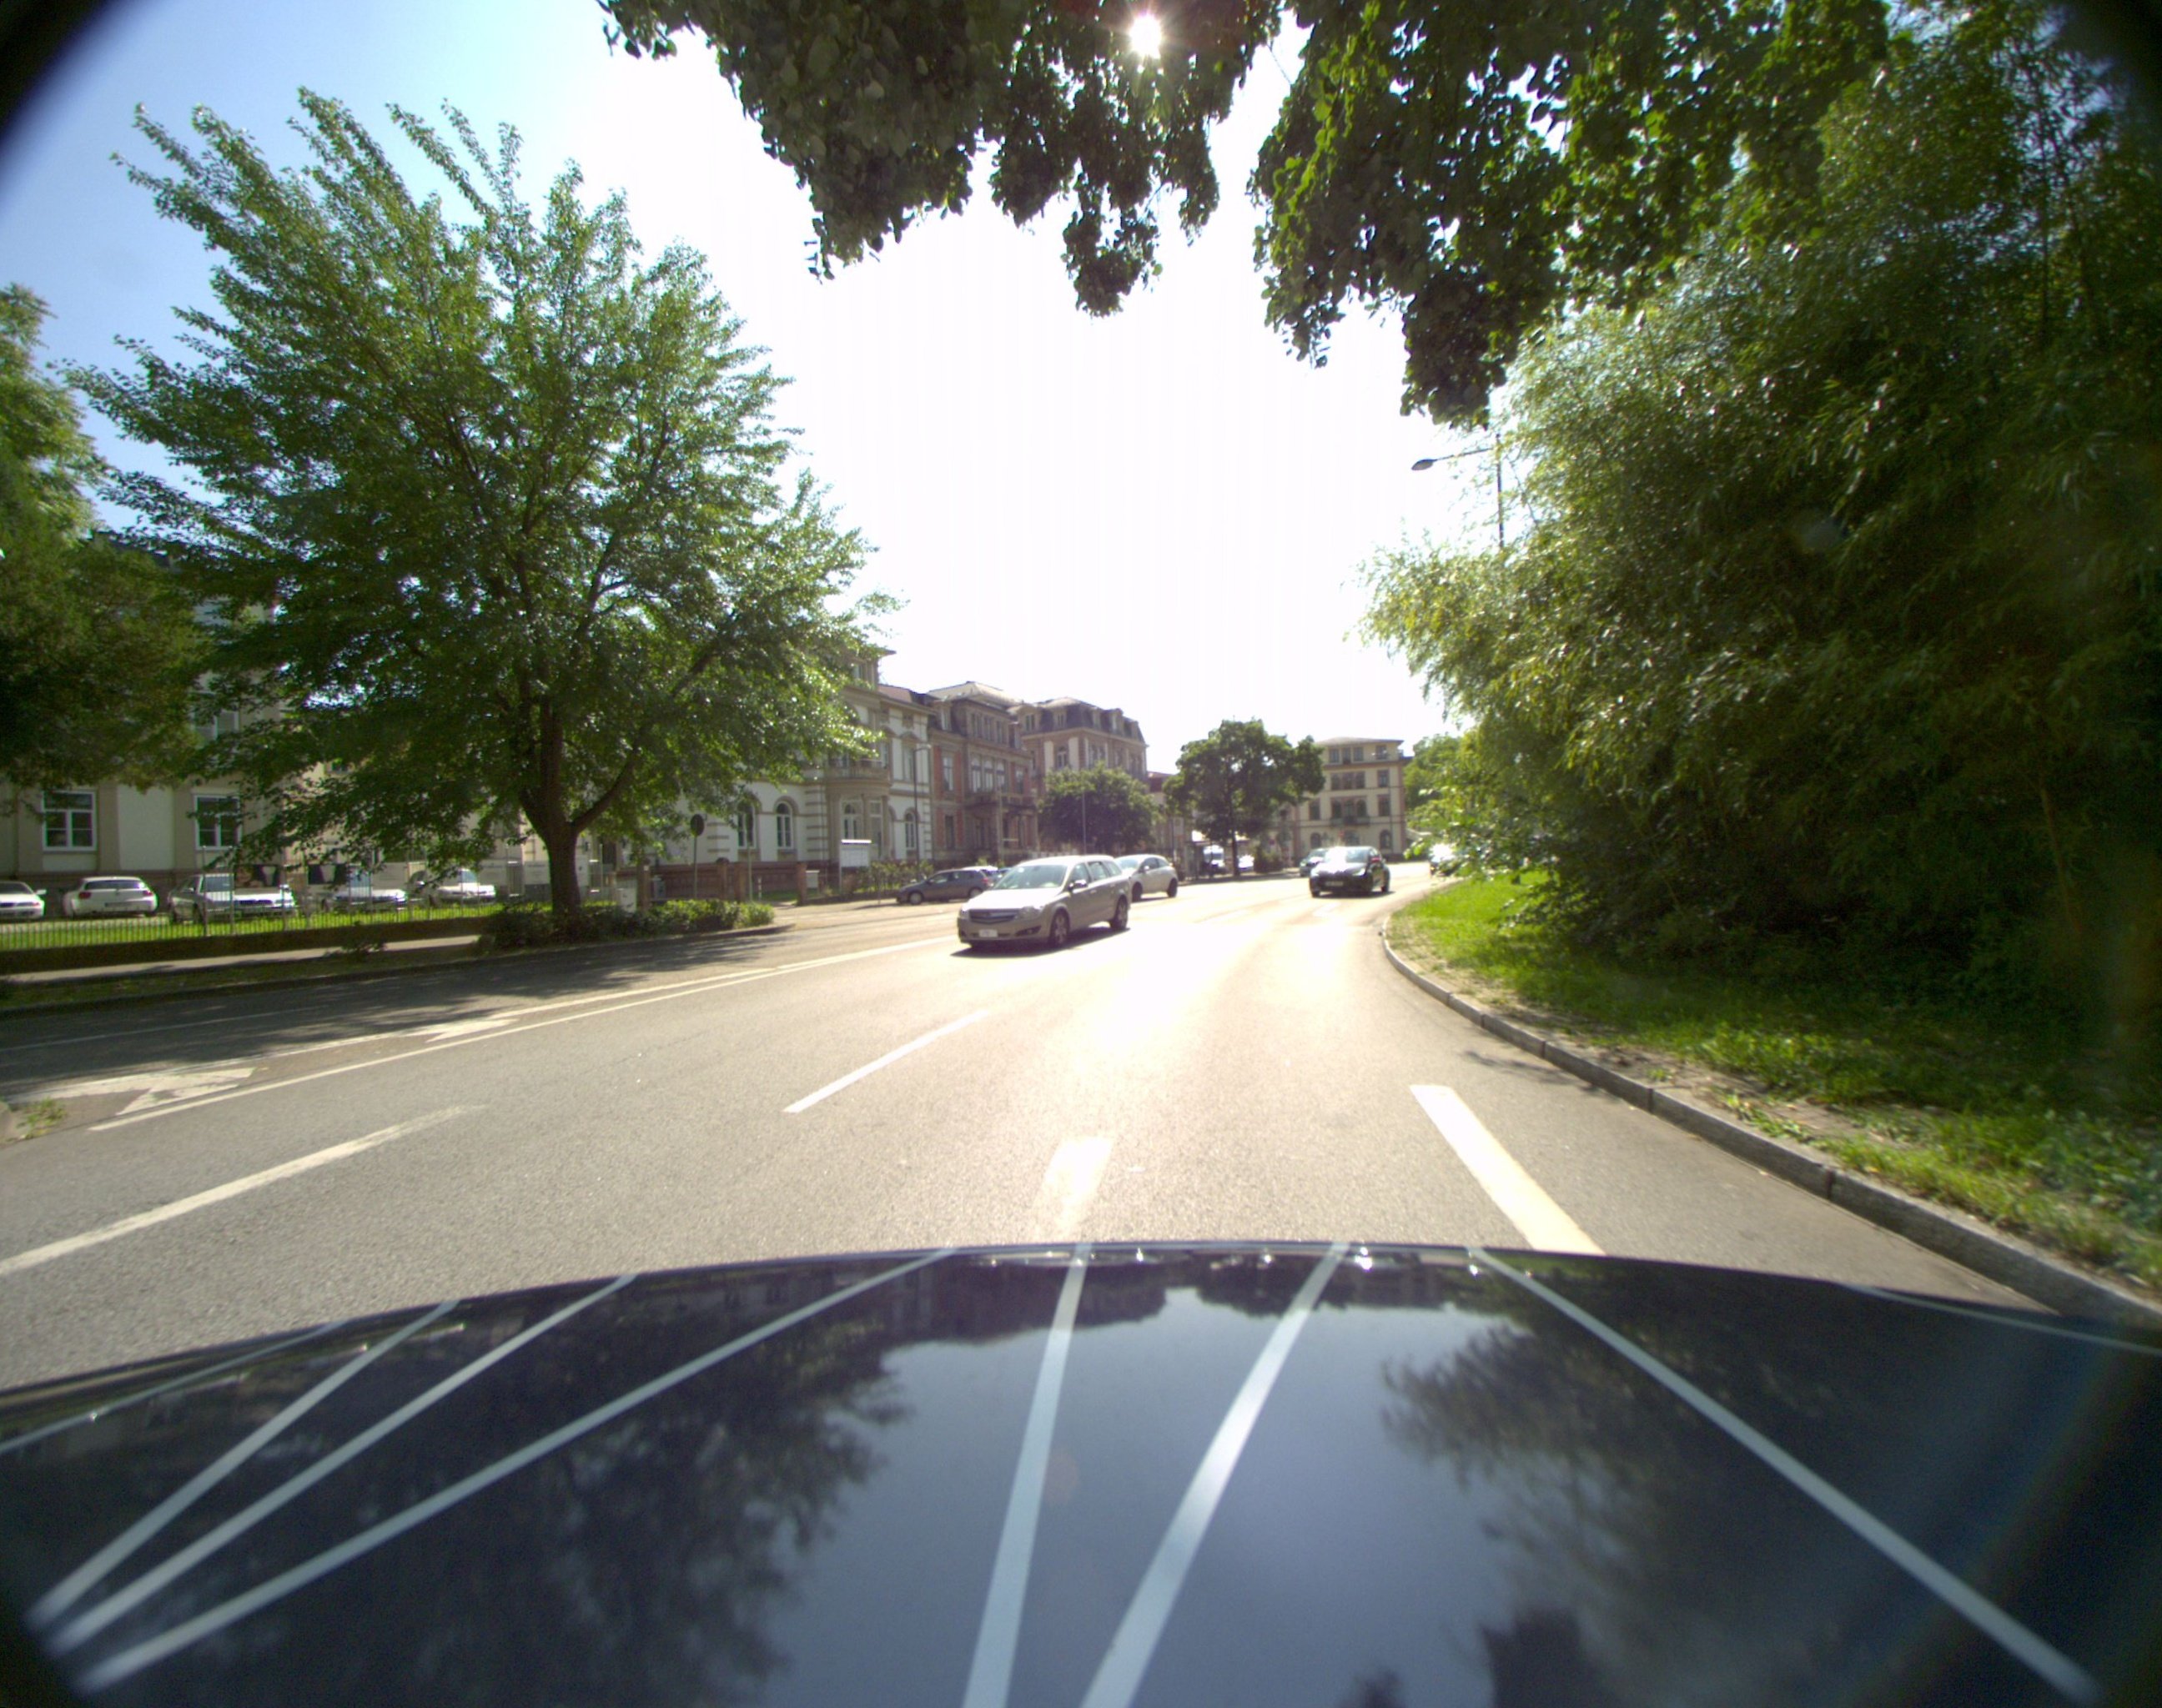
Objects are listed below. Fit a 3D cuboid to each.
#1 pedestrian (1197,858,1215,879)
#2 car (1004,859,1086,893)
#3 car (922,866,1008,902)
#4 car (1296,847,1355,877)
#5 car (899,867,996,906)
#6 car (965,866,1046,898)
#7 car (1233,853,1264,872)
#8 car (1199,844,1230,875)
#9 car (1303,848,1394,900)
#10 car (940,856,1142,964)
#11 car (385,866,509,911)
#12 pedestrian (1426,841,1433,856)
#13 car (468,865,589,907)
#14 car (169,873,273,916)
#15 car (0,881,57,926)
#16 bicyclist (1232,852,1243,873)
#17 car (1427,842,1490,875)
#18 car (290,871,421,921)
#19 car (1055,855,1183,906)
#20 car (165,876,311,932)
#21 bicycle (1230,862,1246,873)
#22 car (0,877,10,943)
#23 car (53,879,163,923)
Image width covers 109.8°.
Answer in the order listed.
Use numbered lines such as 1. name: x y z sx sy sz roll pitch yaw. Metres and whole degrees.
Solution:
1. pedestrian: 7.651 0.876 46.461 1.020 1.190 0.792 -3 0 13
2. car: -2.037 1.235 42.808 4.277 1.686 1.711 -3 -1 -19
3. car: -5.583 1.417 36.356 3.814 1.502 1.711 -3 -1 -16
4. car: 13.467 0.412 41.676 1.787 1.503 4.289 -1 0 37
5. car: -5.974 1.415 33.877 4.108 1.452 1.826 -3 -1 -13
6. car: -3.932 1.430 39.296 3.814 1.433 1.711 -3 -1 -19
7. car: 15.652 0.783 70.873 1.818 1.616 4.888 -3 -1 23
8. car: 11.882 0.489 67.925 1.998 2.588 5.320 -3 -1 3
9. car: 8.383 0.560 23.610 1.787 1.443 4.288 -1 0 31
10. car: -0.495 0.862 13.770 1.716 1.491 4.497 -1 1 25
11. car: -20.847 1.138 24.962 4.043 1.328 1.864 -2 0 31
12. pedestrian: 42.575 -0.673 92.805 0.724 1.794 0.653 -3 0 21
13. car: -19.567 1.143 26.898 4.043 1.328 1.995 -2 0 31
14. car: -31.821 1.484 28.092 4.052 1.411 1.825 -2 0 31
15. car: -34.394 1.578 24.135 4.043 1.328 1.825 -2 0 31
16. bicyclist: 12.090 0.655 58.645 0.592 1.597 0.685 -3 0 32
17. car: 18.144 0.180 36.464 1.787 1.484 4.096 -1 0 40
18. car: -21.941 1.247 22.955 4.087 1.328 1.825 -2 0 31
19. car: 1.356 0.801 24.534 1.995 1.429 4.761 -2 0 33
20. car: -23.136 1.349 20.820 4.469 1.328 1.825 -2 0 31
21. bicycle: 12.156 1.037 58.742 0.592 0.849 1.748 -3 -1 32
22. car: -26.115 1.324 17.059 4.146 1.467 1.881 -2 0 29
23. car: -33.378 1.592 26.046 4.079 1.328 1.825 -2 0 31
